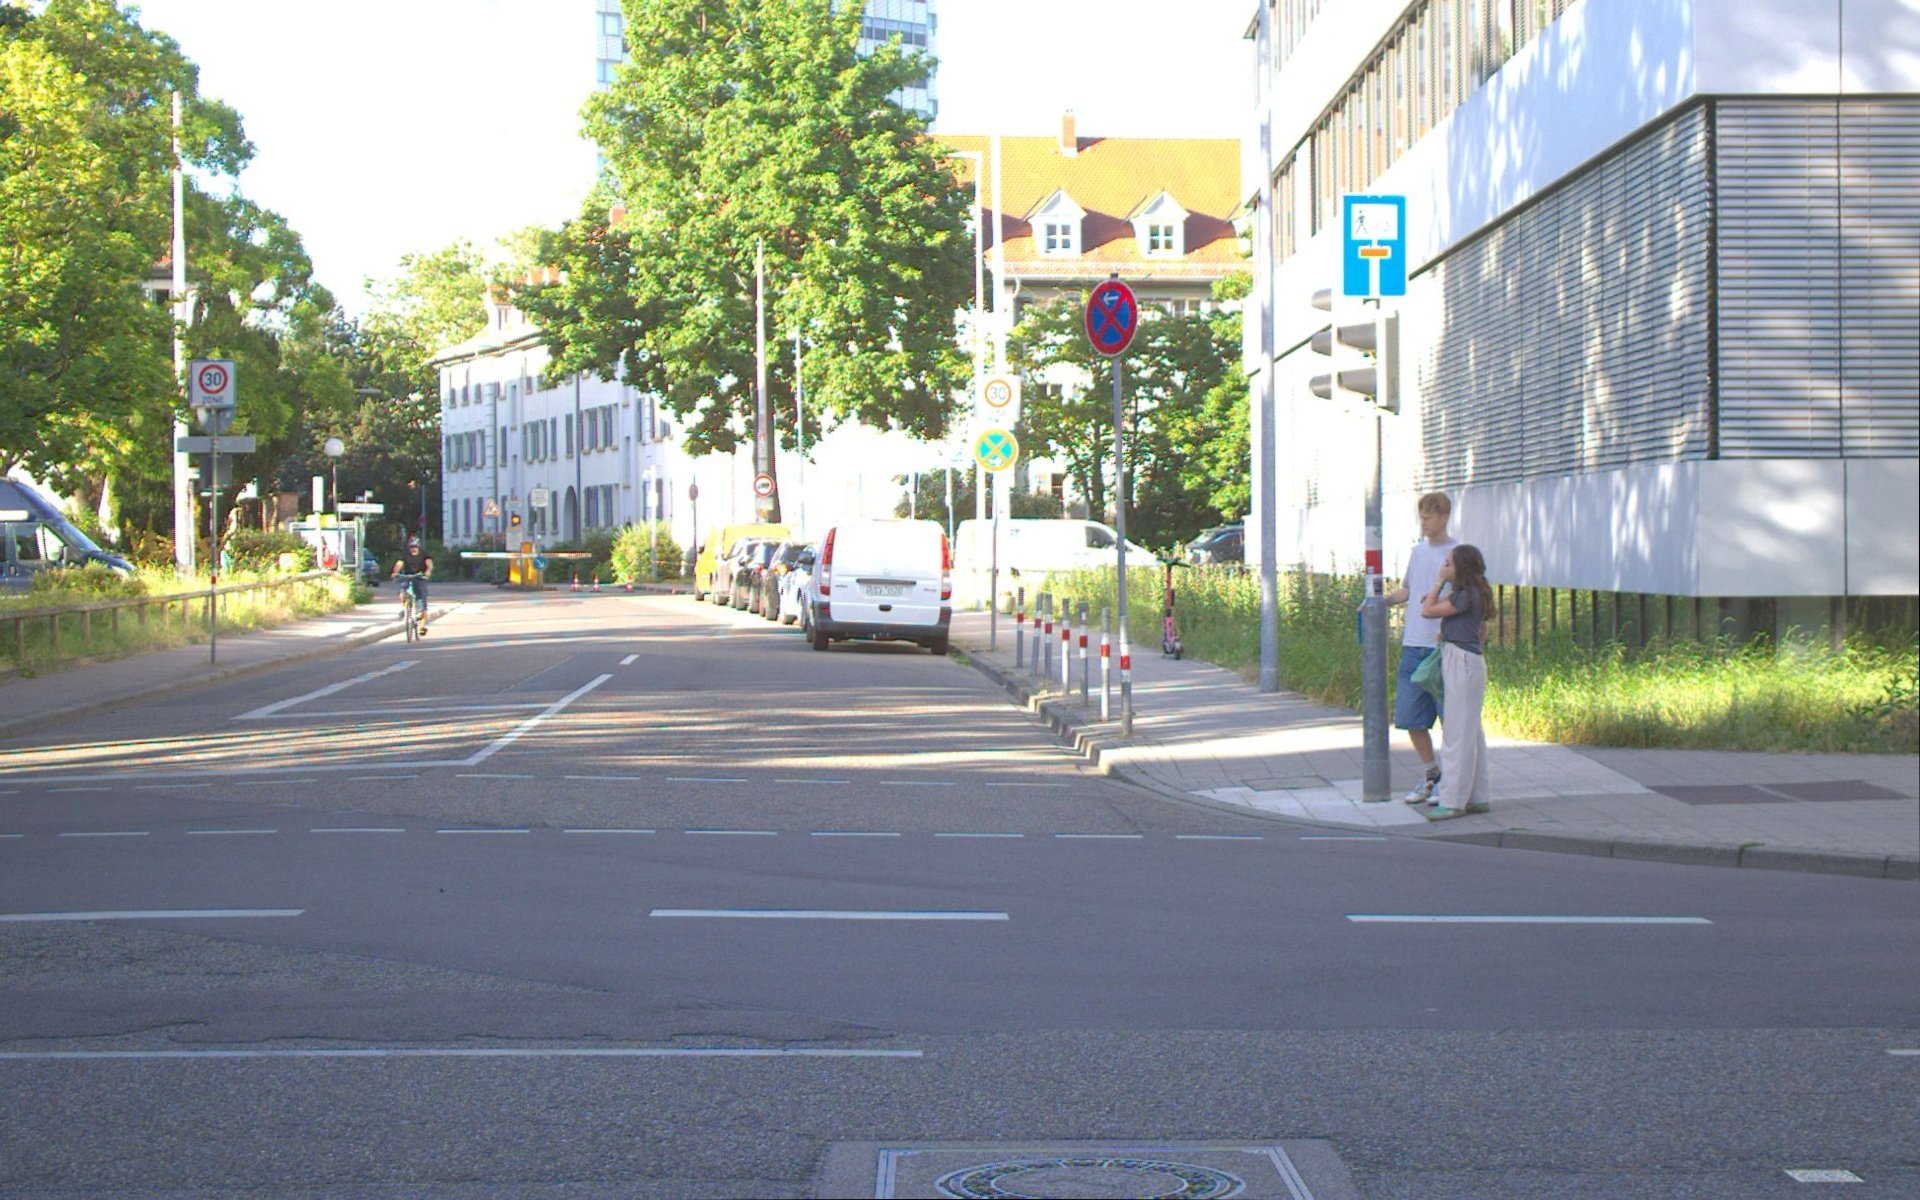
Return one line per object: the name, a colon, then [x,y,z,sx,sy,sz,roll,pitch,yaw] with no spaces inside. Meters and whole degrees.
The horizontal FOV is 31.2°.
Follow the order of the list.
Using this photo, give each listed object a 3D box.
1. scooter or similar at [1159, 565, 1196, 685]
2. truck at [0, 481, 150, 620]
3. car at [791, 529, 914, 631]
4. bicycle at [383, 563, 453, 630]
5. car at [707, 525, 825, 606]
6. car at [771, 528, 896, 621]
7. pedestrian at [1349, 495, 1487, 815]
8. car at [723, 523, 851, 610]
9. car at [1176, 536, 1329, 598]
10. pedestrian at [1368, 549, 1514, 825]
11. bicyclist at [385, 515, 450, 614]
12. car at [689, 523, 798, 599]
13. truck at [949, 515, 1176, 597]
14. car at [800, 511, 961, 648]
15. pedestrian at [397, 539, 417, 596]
scooter or similar: [2.613,0.292,41.357,0.330,1.419,1.335,2,0,1]
truck: [-16.853,-0.887,60.368,4.828,2.391,2.088,0,1,-3]
car: [-1.802,-0.360,56.359,1.888,1.550,4.416,0,2,-3]
bicycle: [-8.561,-0.062,54.374,0.865,1.006,2.415,-3,1,-4]
car: [-4.253,-0.777,74.745,1.888,1.650,4.417,0,2,-12]
car: [-2.319,-0.491,61.831,1.888,1.550,4.416,0,2,-7]
pedestrian: [2.726,0.318,20.437,0.560,1.844,0.676,-3,1,23]
car: [-3.528,-0.697,69.274,1.888,1.650,4.417,0,2,-12]
car: [7.377,-0.838,86.774,3.553,1.541,1.559,0,1,-12]
pedestrian: [2.767,0.487,19.823,0.559,1.535,0.677,-4,1,-12]
bicyclist: [-8.576,-0.566,54.385,0.865,1.510,1.019,-3,1,-4]
car: [-5.027,-0.920,79.458,1.888,1.650,4.417,0,2,-12]
truck: [2.557,-1.105,86.157,5.336,2.007,2.001,0,1,-12]
car: [-1.161,-0.330,48.143,2.085,1.789,4.416,0,2,-3]
pedestrian: [-16.129,-0.947,100.236,0.545,1.671,0.476,-1,1,-10]
